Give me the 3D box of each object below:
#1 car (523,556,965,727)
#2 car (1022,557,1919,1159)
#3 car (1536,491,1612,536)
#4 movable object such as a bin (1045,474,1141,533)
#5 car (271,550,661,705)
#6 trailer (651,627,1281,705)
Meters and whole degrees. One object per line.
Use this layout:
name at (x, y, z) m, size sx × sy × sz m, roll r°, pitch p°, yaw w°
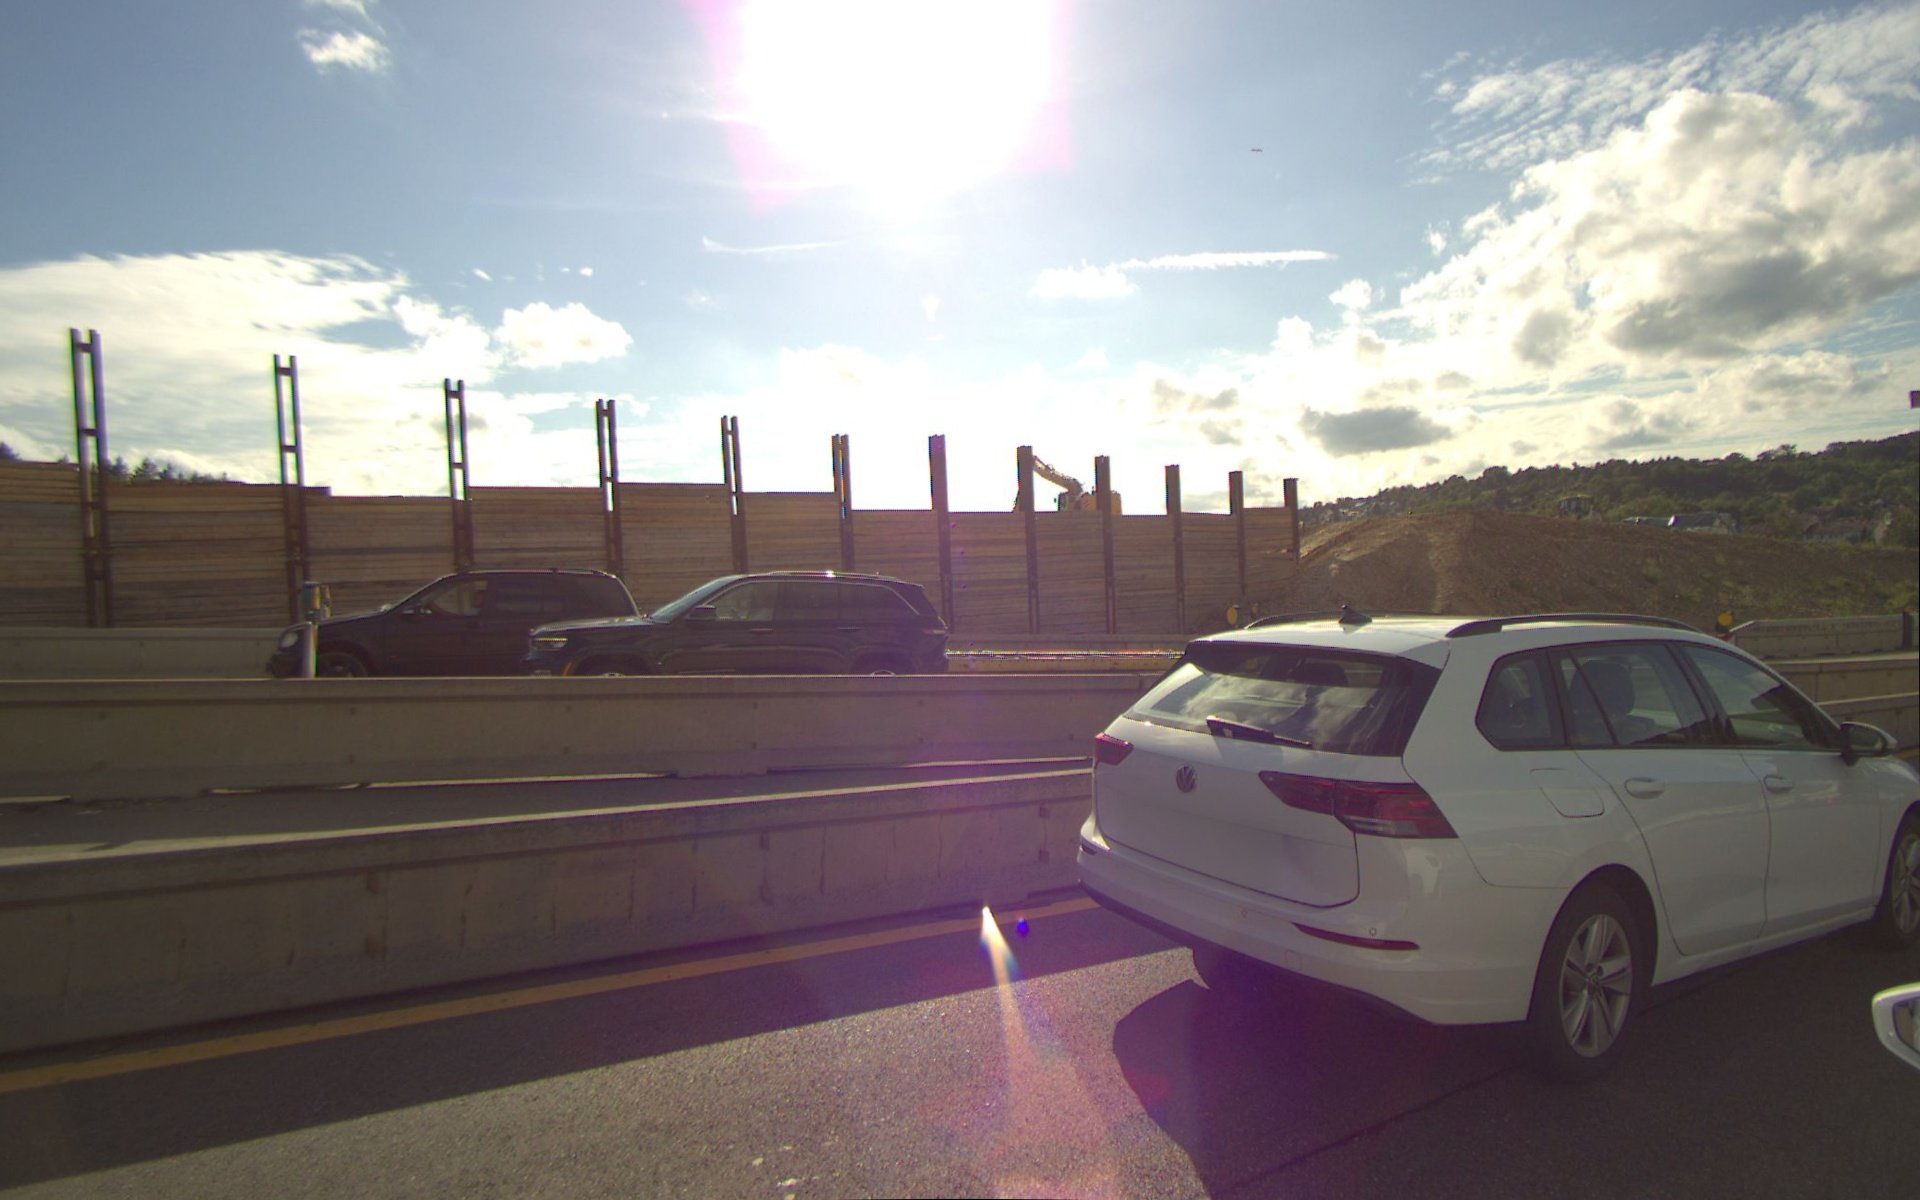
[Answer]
car at (-2.446, 0.418, 11.566) m, size 4.685 × 1.657 × 1.846 m, roll 1°, pitch 1°, yaw -26°
car at (2.621, 0.750, 4.446) m, size 4.464 × 1.510 × 1.761 m, roll 3°, pitch -2°, yaw -31°
car at (39.063, -5.464, 63.869) m, size 5.263 × 2.168 × 1.983 m, roll 2°, pitch -5°, yaw -32°
movable object such as a bin at (9.132, -6.579, 69.690) m, size 4.441 × 3.314 × 5.739 m, roll 2°, pitch 0°, yaw -19°
car at (-6.439, 0.400, 13.614) m, size 4.380 × 1.828 × 1.990 m, roll 2°, pitch 0°, yaw -22°
trailer at (0.362, 1.079, 16.404) m, size 10.179 × 0.952 × 2.347 m, roll 2°, pitch 0°, yaw -22°
